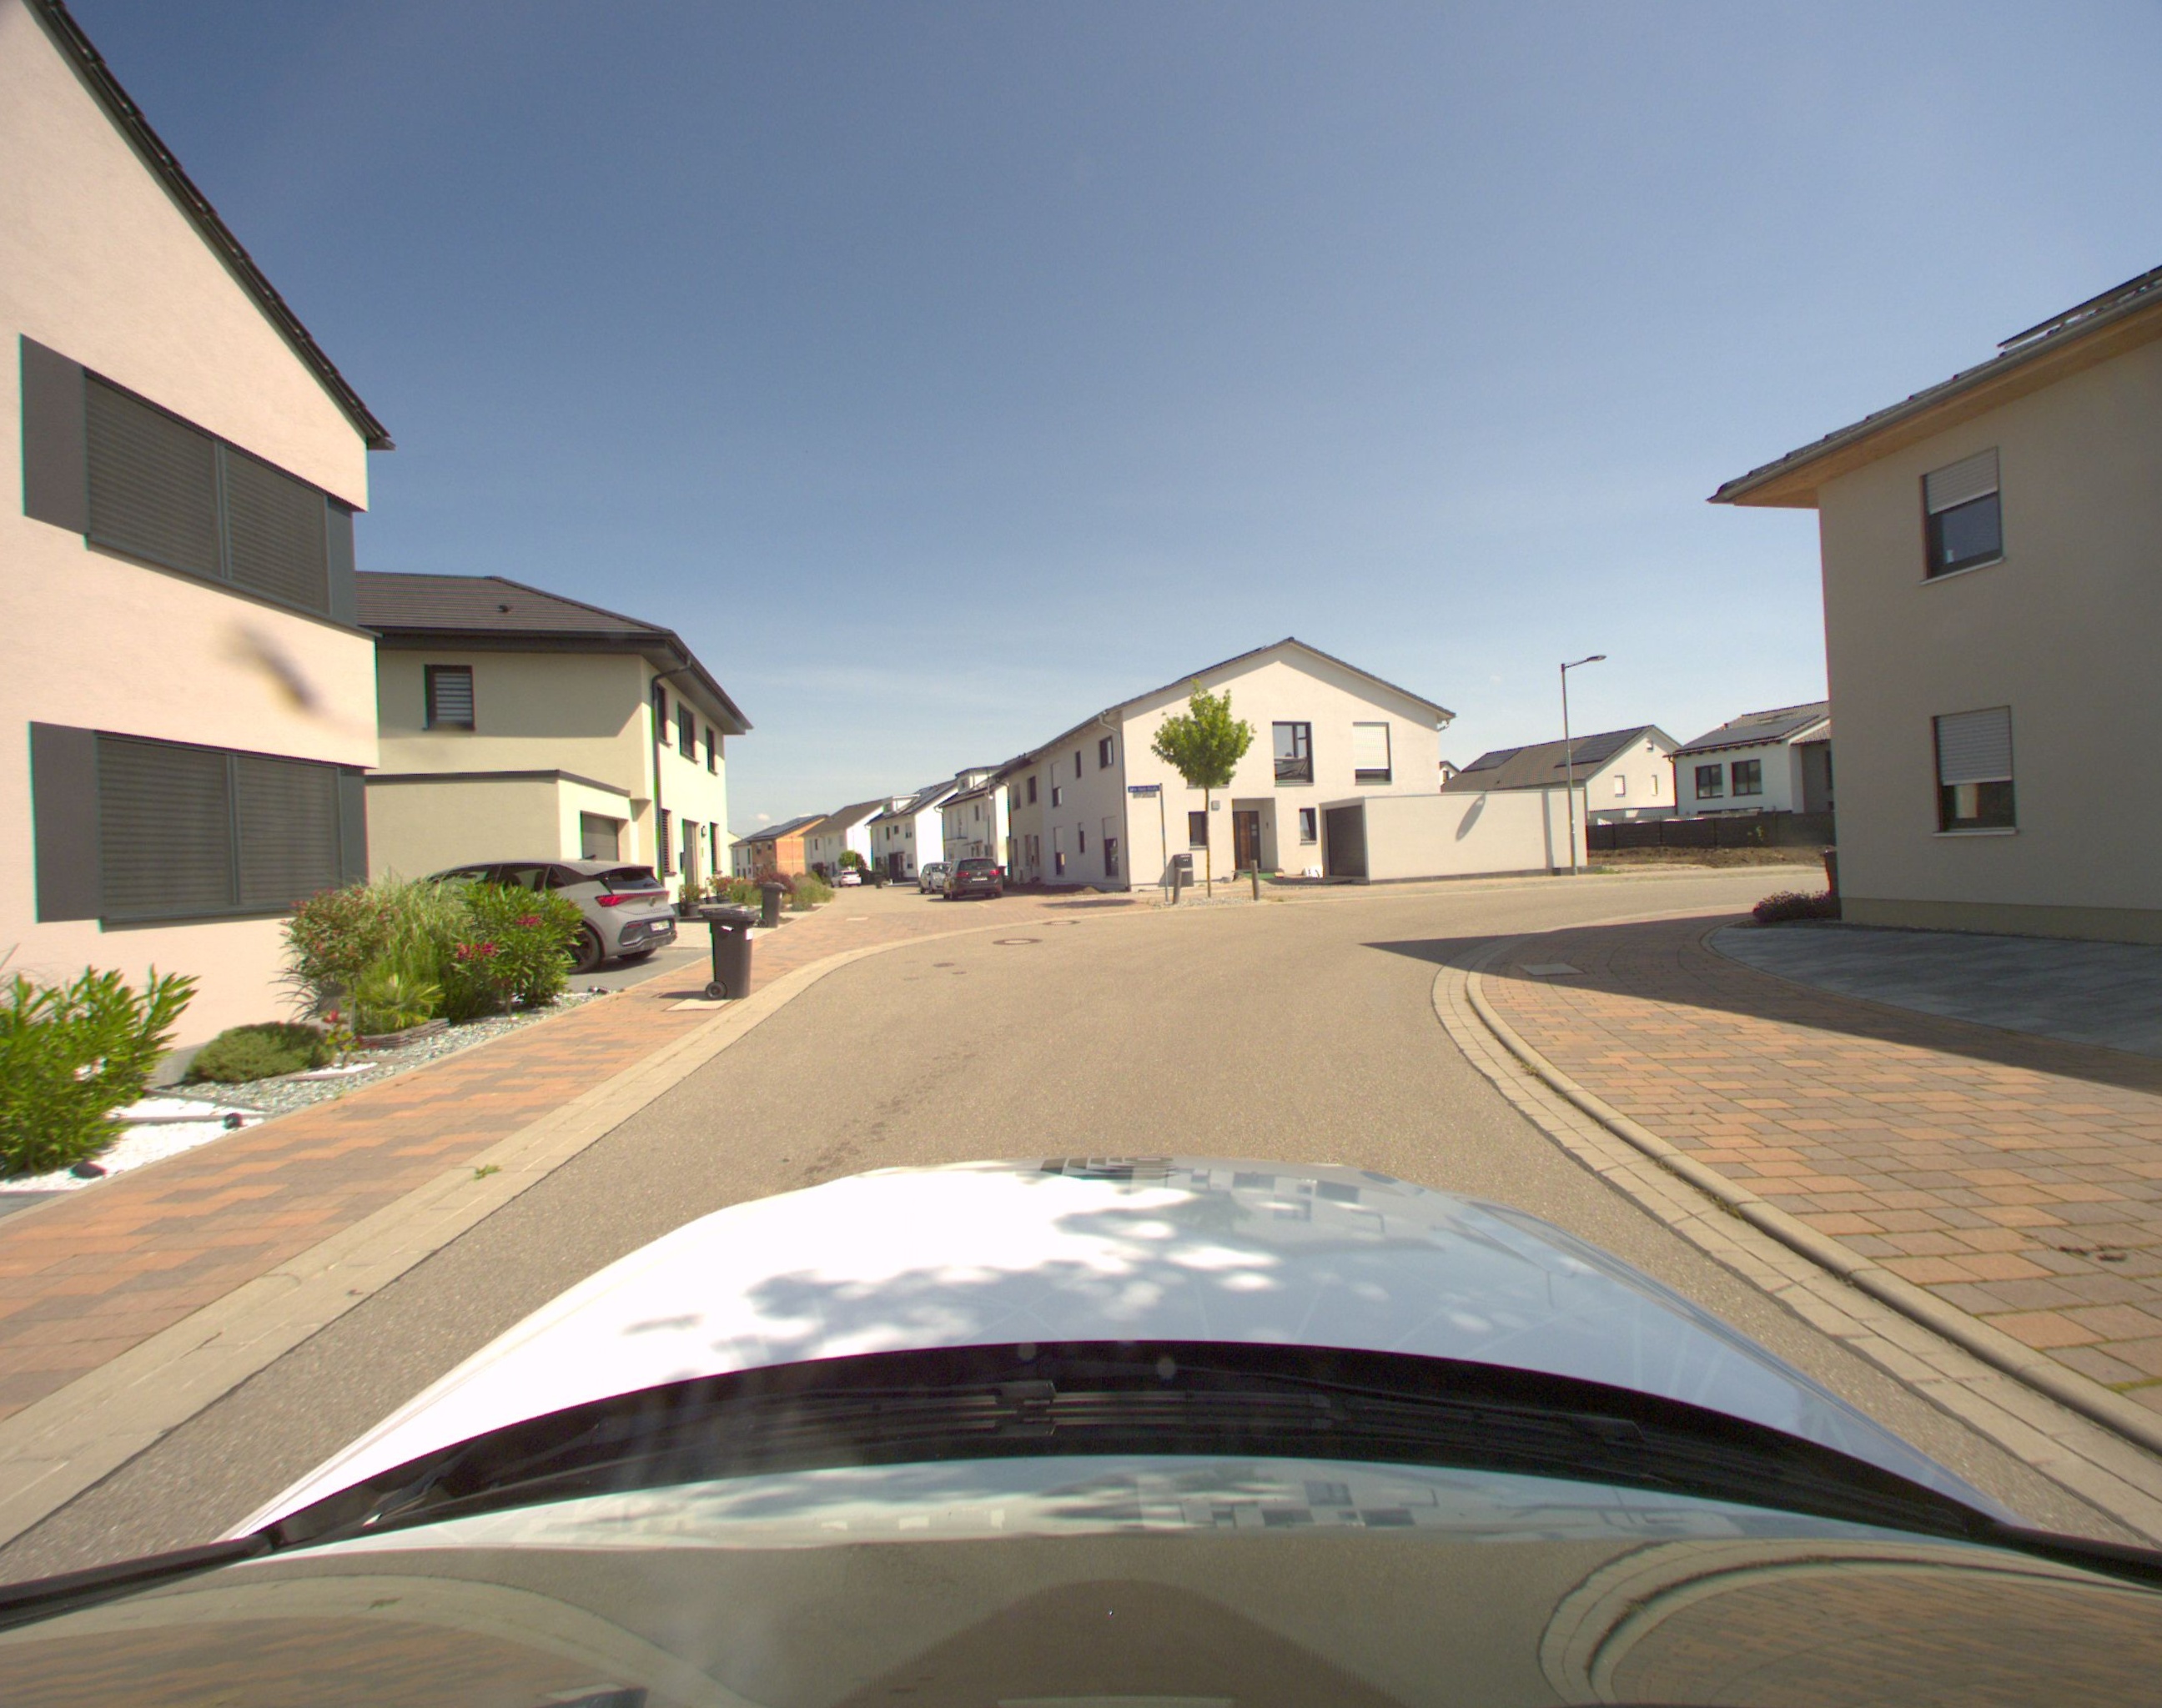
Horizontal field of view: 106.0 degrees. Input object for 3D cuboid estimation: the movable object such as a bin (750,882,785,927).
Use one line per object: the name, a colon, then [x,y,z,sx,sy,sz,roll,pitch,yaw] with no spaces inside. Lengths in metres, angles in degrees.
movable object such as a bin: [-6.564,1.049,17.046,0.615,0.927,0.421,0,-2,-13]

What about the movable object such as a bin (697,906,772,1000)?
movable object such as a bin: [-3.694,1.047,8.712,0.532,0.936,0.527,-1,0,7]

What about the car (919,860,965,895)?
car: [-6.542,1.065,38.112,1.680,1.464,3.923,-3,0,-16]

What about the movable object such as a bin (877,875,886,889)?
movable object such as a bin: [-13.921,1.926,56.921,0.559,0.949,0.245,-3,0,-20]

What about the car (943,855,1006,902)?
car: [-3.802,0.835,28.546,1.729,1.423,3.982,-3,0,-13]

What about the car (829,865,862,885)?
car: [-20.357,1.848,70.240,1.791,1.596,3.961,-3,0,-30]

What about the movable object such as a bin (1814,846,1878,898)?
movable object such as a bin: [14.287,0.329,15.222,0.645,0.930,0.550,-2,-1,-3]

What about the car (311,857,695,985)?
car: [-7.797,0.857,11.284,3.974,1.486,1.754,-2,0,-1]

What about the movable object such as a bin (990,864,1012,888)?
movable object such as a bin: [-3.720,1.020,37.920,0.786,1.050,0.799,-5,0,-18]
